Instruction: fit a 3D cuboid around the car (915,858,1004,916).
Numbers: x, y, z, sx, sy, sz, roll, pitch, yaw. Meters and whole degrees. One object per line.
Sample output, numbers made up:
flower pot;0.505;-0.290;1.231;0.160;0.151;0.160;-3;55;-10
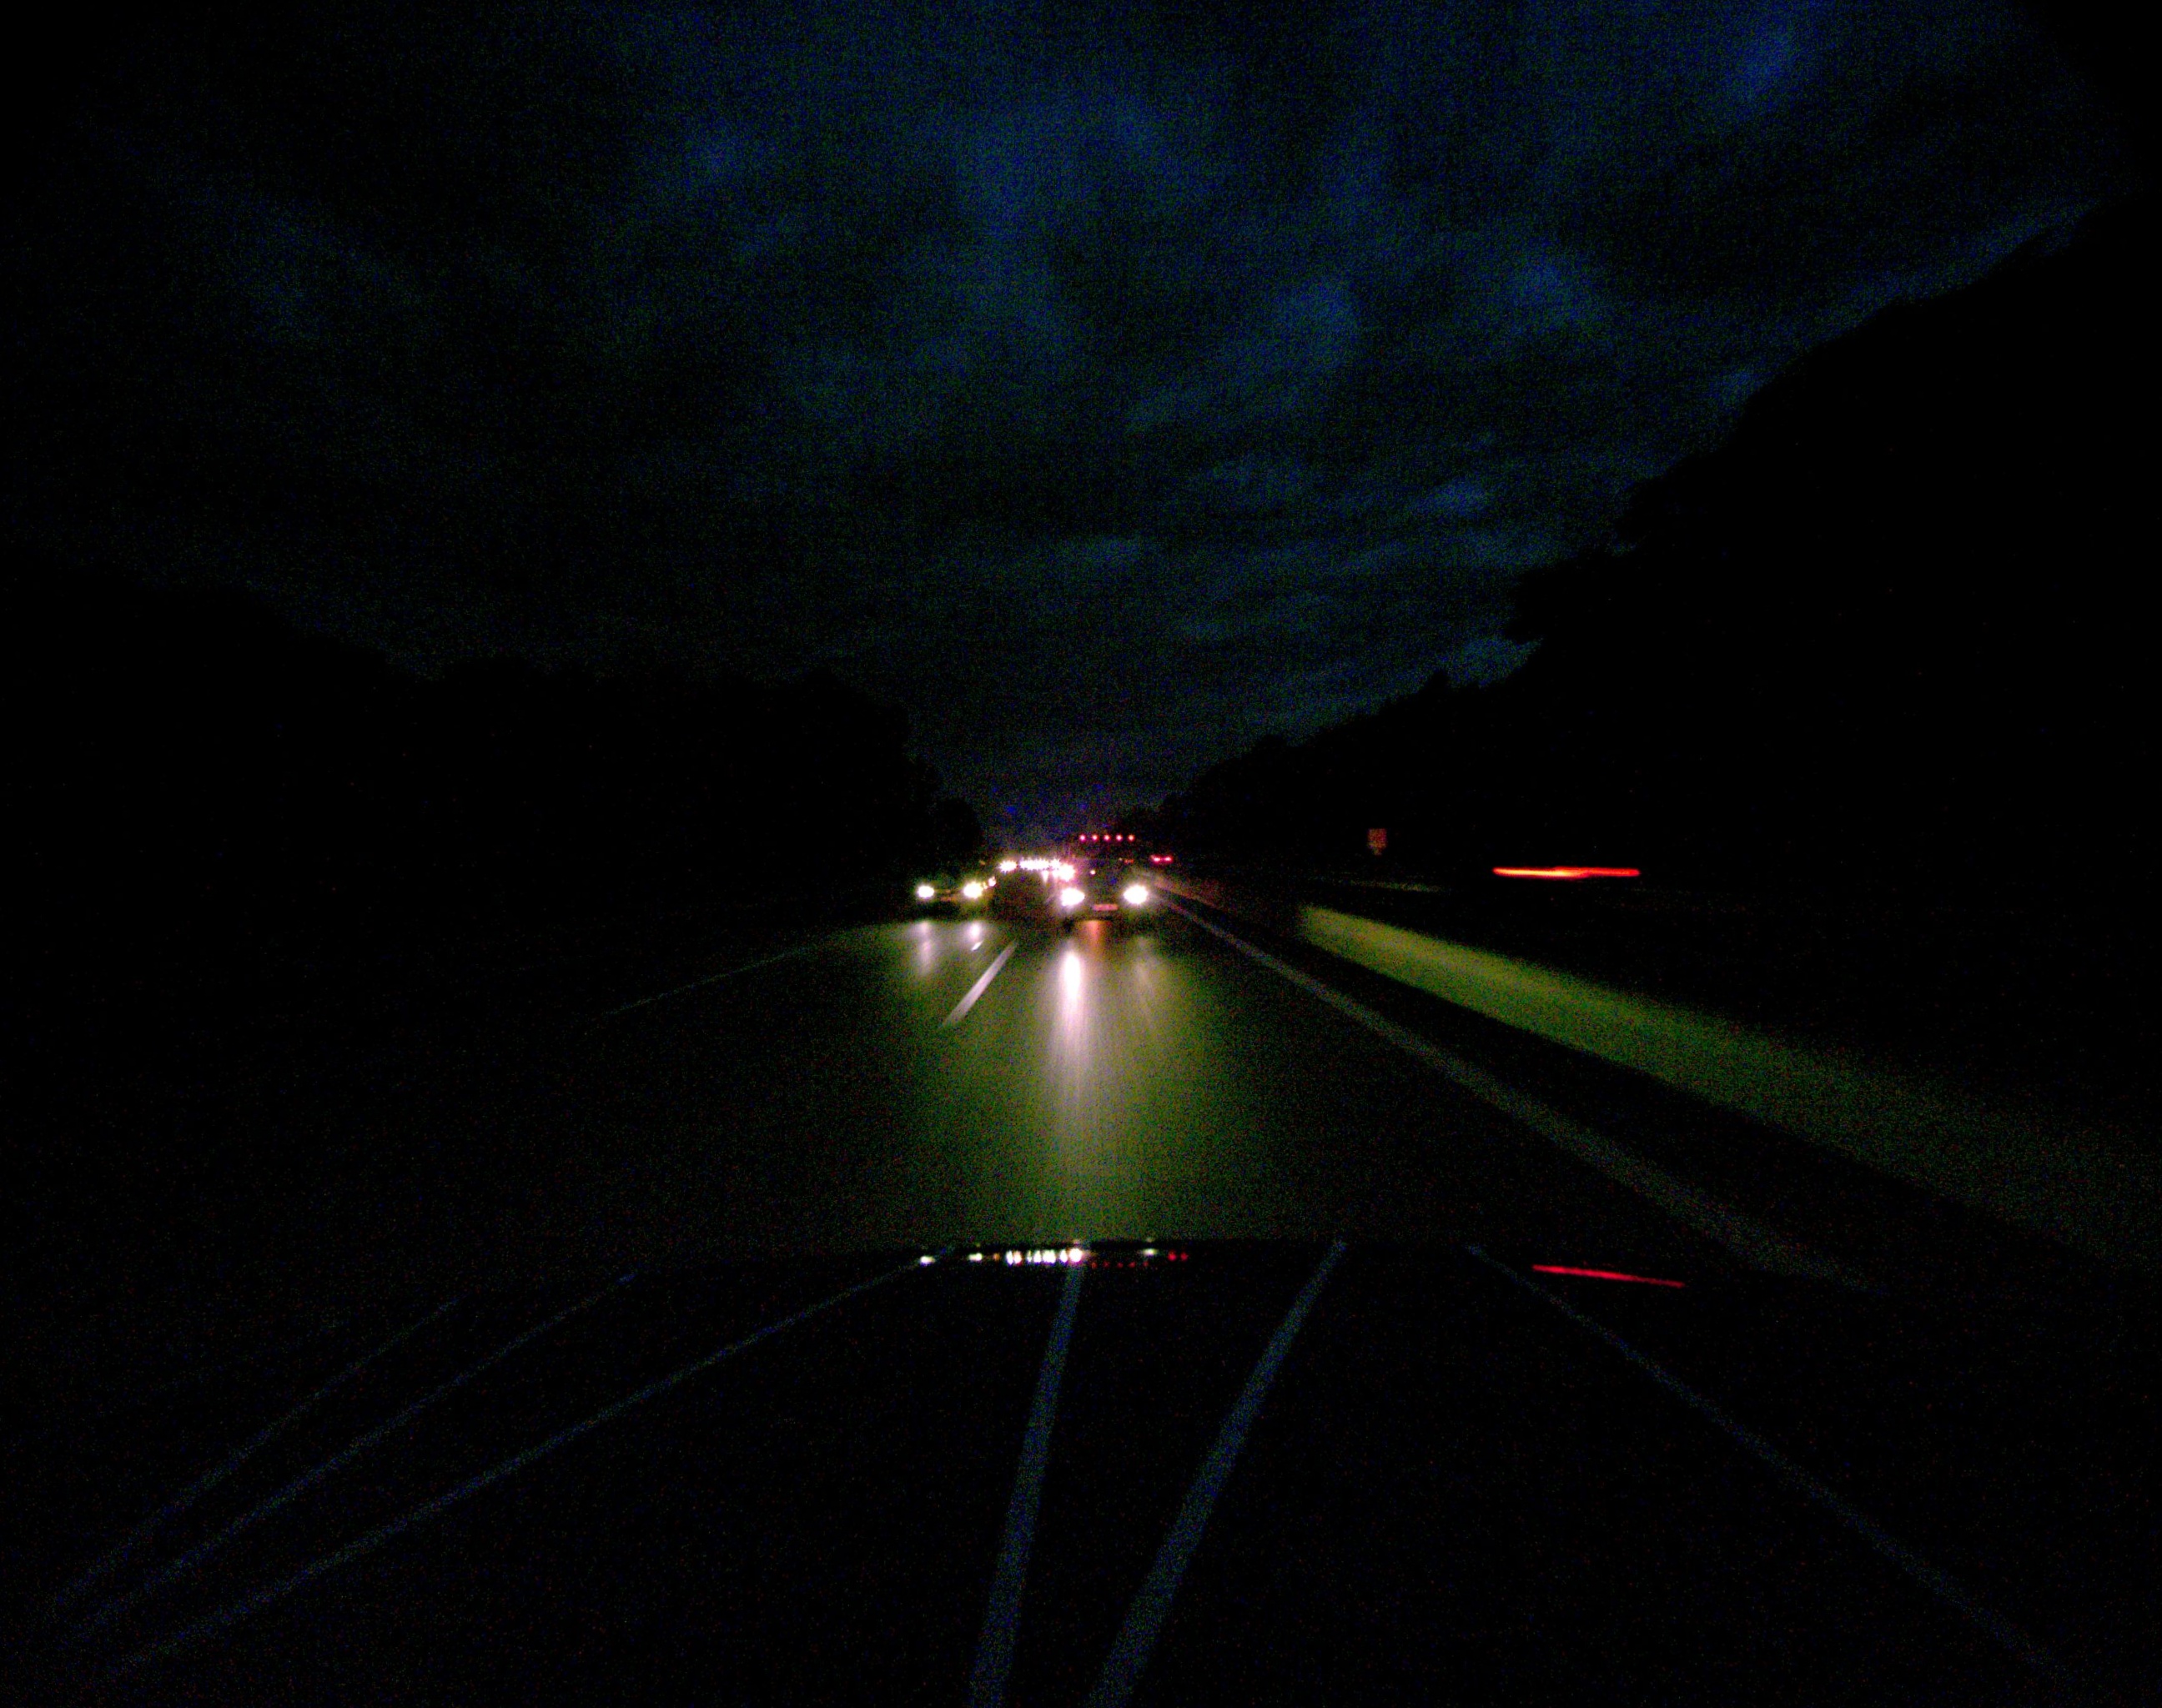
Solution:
car;-3.681;0.939;24.005;1.914;1.528;5.230;-1;1;0

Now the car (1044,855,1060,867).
car;-3.863;0.979;100.910;1.999;1.539;3.999;-1;-2;-5

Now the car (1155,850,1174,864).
car;10.020;0.342;91.464;1.998;1.629;5.112;-2;0;3

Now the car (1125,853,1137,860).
car;12.028;0.681;182.984;1.848;1.454;4.773;-3;-1;-7

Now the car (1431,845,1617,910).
car;11.204;0.522;19.791;1.759;1.420;5.363;-2;0;1

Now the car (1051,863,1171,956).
car;0.531;0.908;14.336;1.879;1.435;4.451;-1;0;1

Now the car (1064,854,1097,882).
car;0.038;0.774;46.003;1.813;1.457;5.132;-3;1;2
